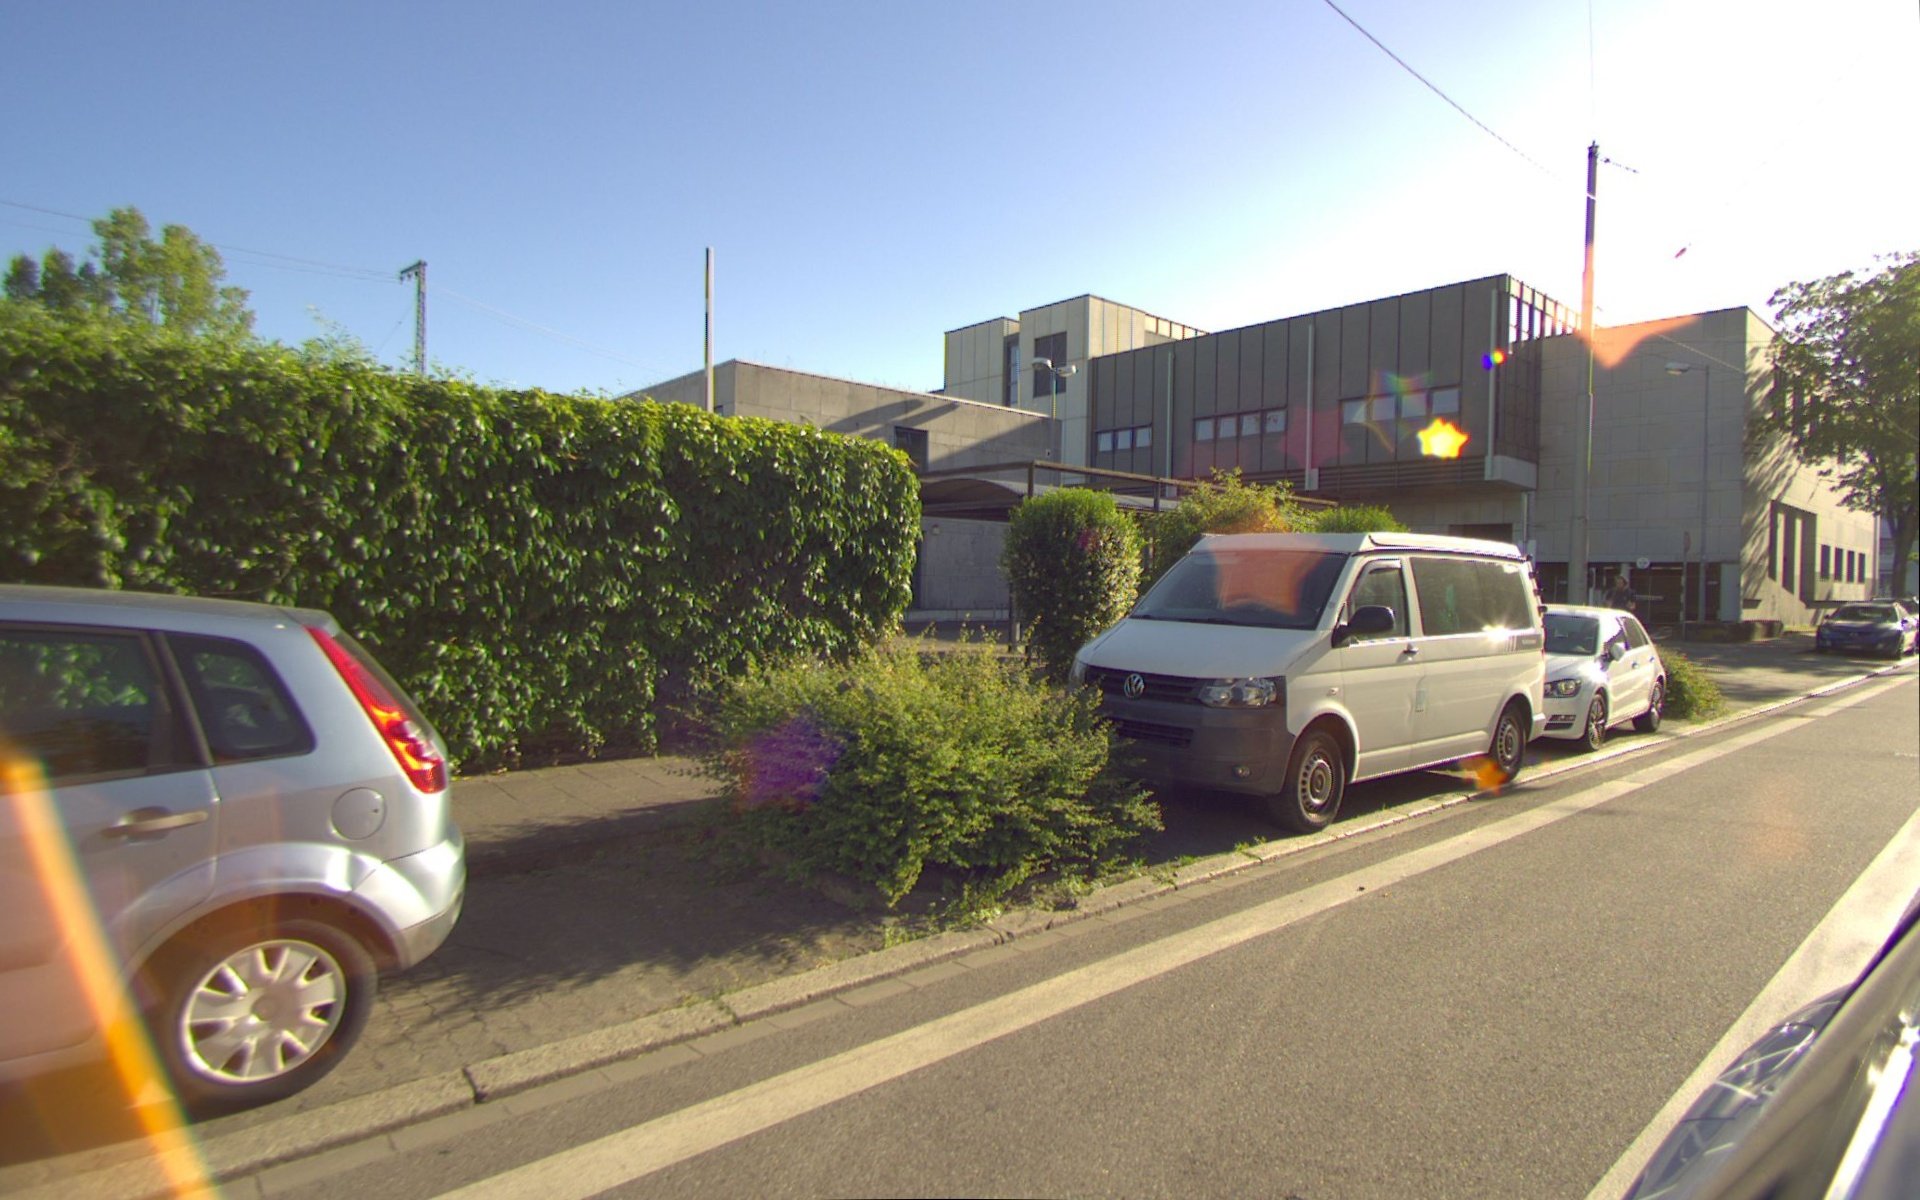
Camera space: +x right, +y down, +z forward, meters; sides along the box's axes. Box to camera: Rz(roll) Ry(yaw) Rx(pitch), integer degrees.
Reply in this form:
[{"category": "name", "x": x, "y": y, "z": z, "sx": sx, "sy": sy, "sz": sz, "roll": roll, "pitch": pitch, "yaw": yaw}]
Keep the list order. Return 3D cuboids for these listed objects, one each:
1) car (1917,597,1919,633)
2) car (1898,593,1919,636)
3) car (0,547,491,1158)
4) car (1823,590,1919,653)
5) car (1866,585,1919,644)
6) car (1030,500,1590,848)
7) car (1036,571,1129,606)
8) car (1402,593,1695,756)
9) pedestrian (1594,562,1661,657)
[{"category": "car", "x": 39.704, "y": 0.615, "z": 40.448, "sx": 4.253, "sy": 1.425, "sz": 1.712, "roll": -1, "pitch": 3, "yaw": -41}, {"category": "car", "x": 35.436, "y": 0.549, "z": 36.624, "sx": 4.543, "sy": 1.508, "sz": 1.715, "roll": 1, "pitch": 2, "yaw": -41}, {"category": "car", "x": -3.604, "y": 0.614, "z": 2.646, "sx": 4.002, "sy": 1.491, "sz": 1.877, "roll": -1, "pitch": 1, "yaw": -39}, {"category": "car", "x": 25.703, "y": 0.535, "z": 28.283, "sx": 4.578, "sy": 1.499, "sz": 1.706, "roll": -1, "pitch": 4, "yaw": -41}, {"category": "car", "x": 29.825, "y": 0.405, "z": 31.793, "sx": 4.207, "sy": 1.733, "sz": 1.743, "roll": -1, "pitch": 1, "yaw": -44}, {"category": "car", "x": 3.085, "y": 0.381, "z": 8.211, "sx": 5.148, "sy": 2.016, "sz": 1.858, "roll": 0, "pitch": 2, "yaw": -39}, {"category": "car", "x": 5.585, "y": -0.528, "z": 46.434, "sx": 1.869, "sy": 1.492, "sz": 4.081, "roll": 0, "pitch": 1, "yaw": -41}, {"category": "car", "x": 6.921, "y": 0.692, "z": 11.687, "sx": 4.427, "sy": 1.435, "sz": 1.678, "roll": -1, "pitch": 3, "yaw": -43}, {"category": "pedestrian", "x": 13.459, "y": 0.169, "z": 20.404, "sx": 1.281, "sy": 1.810, "sz": 0.672, "roll": 0, "pitch": 5, "yaw": -41}]
